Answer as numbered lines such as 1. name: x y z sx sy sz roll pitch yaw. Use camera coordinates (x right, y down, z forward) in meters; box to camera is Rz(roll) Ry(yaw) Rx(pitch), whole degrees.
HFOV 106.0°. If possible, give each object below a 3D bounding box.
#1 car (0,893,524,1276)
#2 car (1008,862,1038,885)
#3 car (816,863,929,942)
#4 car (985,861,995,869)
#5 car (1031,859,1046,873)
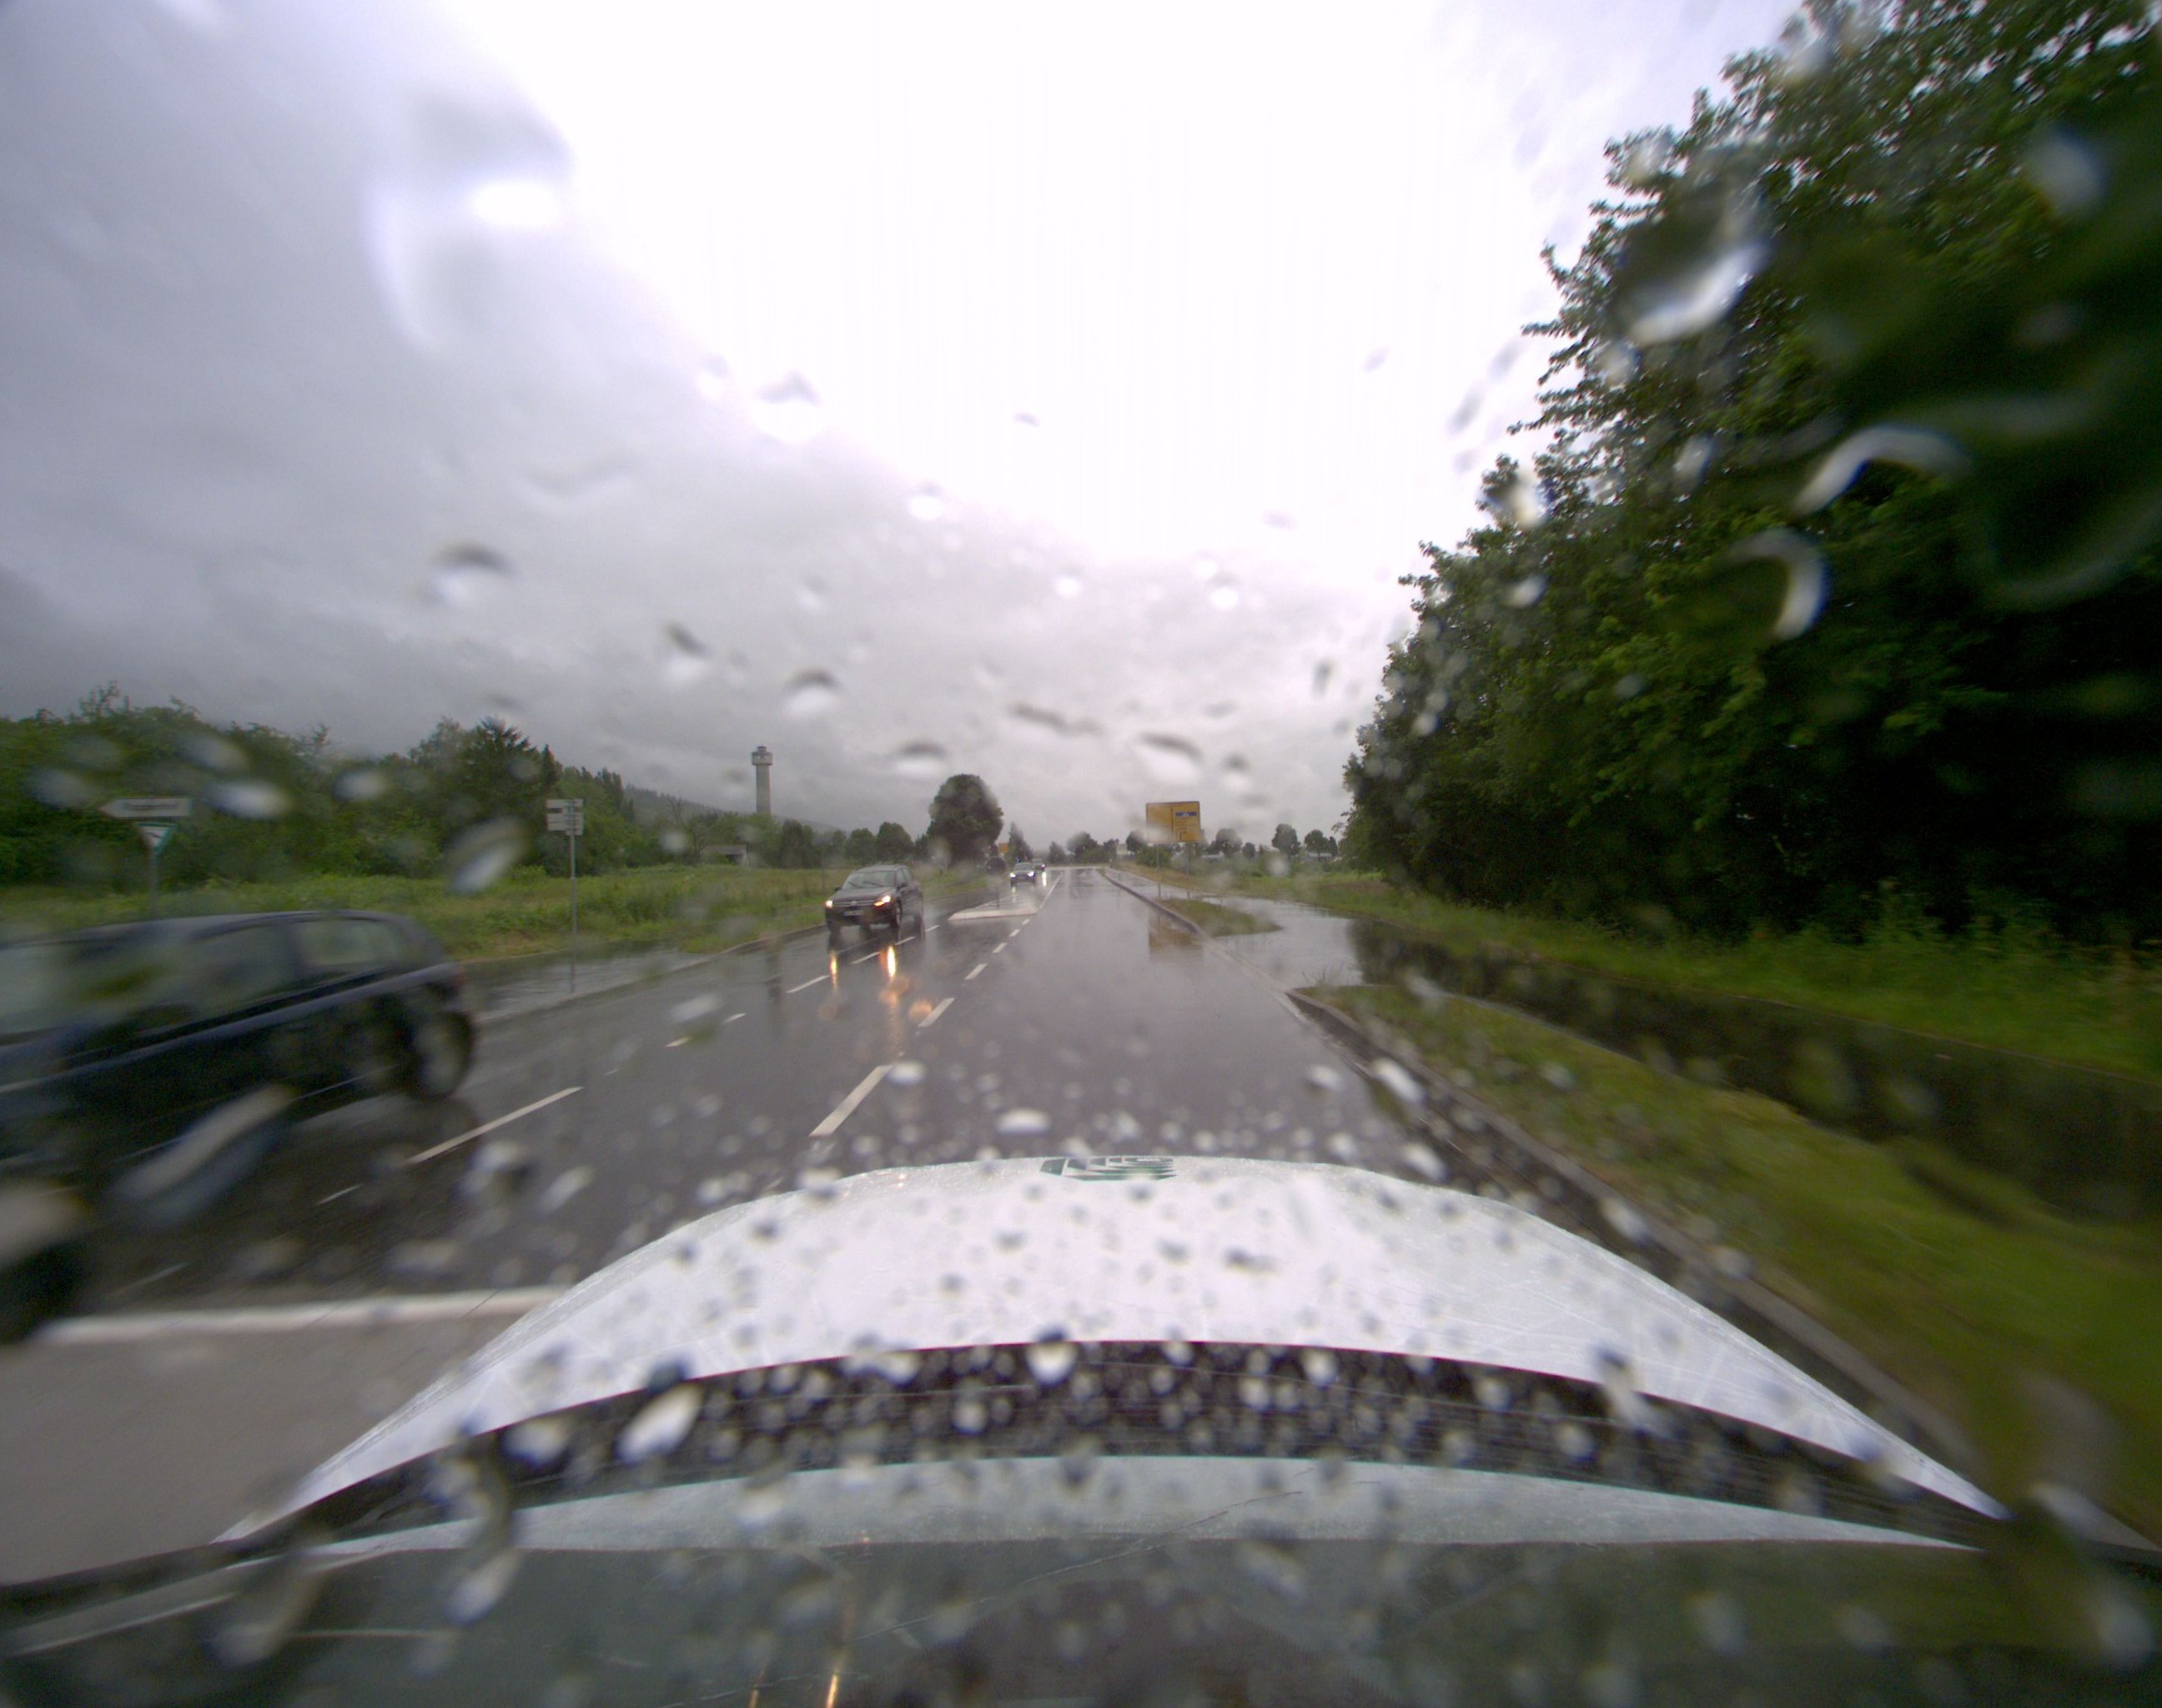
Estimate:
1. car: -5.485 1.117 4.822 1.736 1.445 3.682 -4 0 0
2. car: -4.070 1.370 57.950 1.691 1.402 3.768 -5 0 1
3. car: -5.472 1.212 21.915 1.735 1.718 4.268 -4 0 1
4. car: -19.883 2.388 178.454 1.904 1.721 3.989 -6 0 -8
5. car: -6.290 1.799 121.924 1.988 1.972 4.953 -4 0 -2
